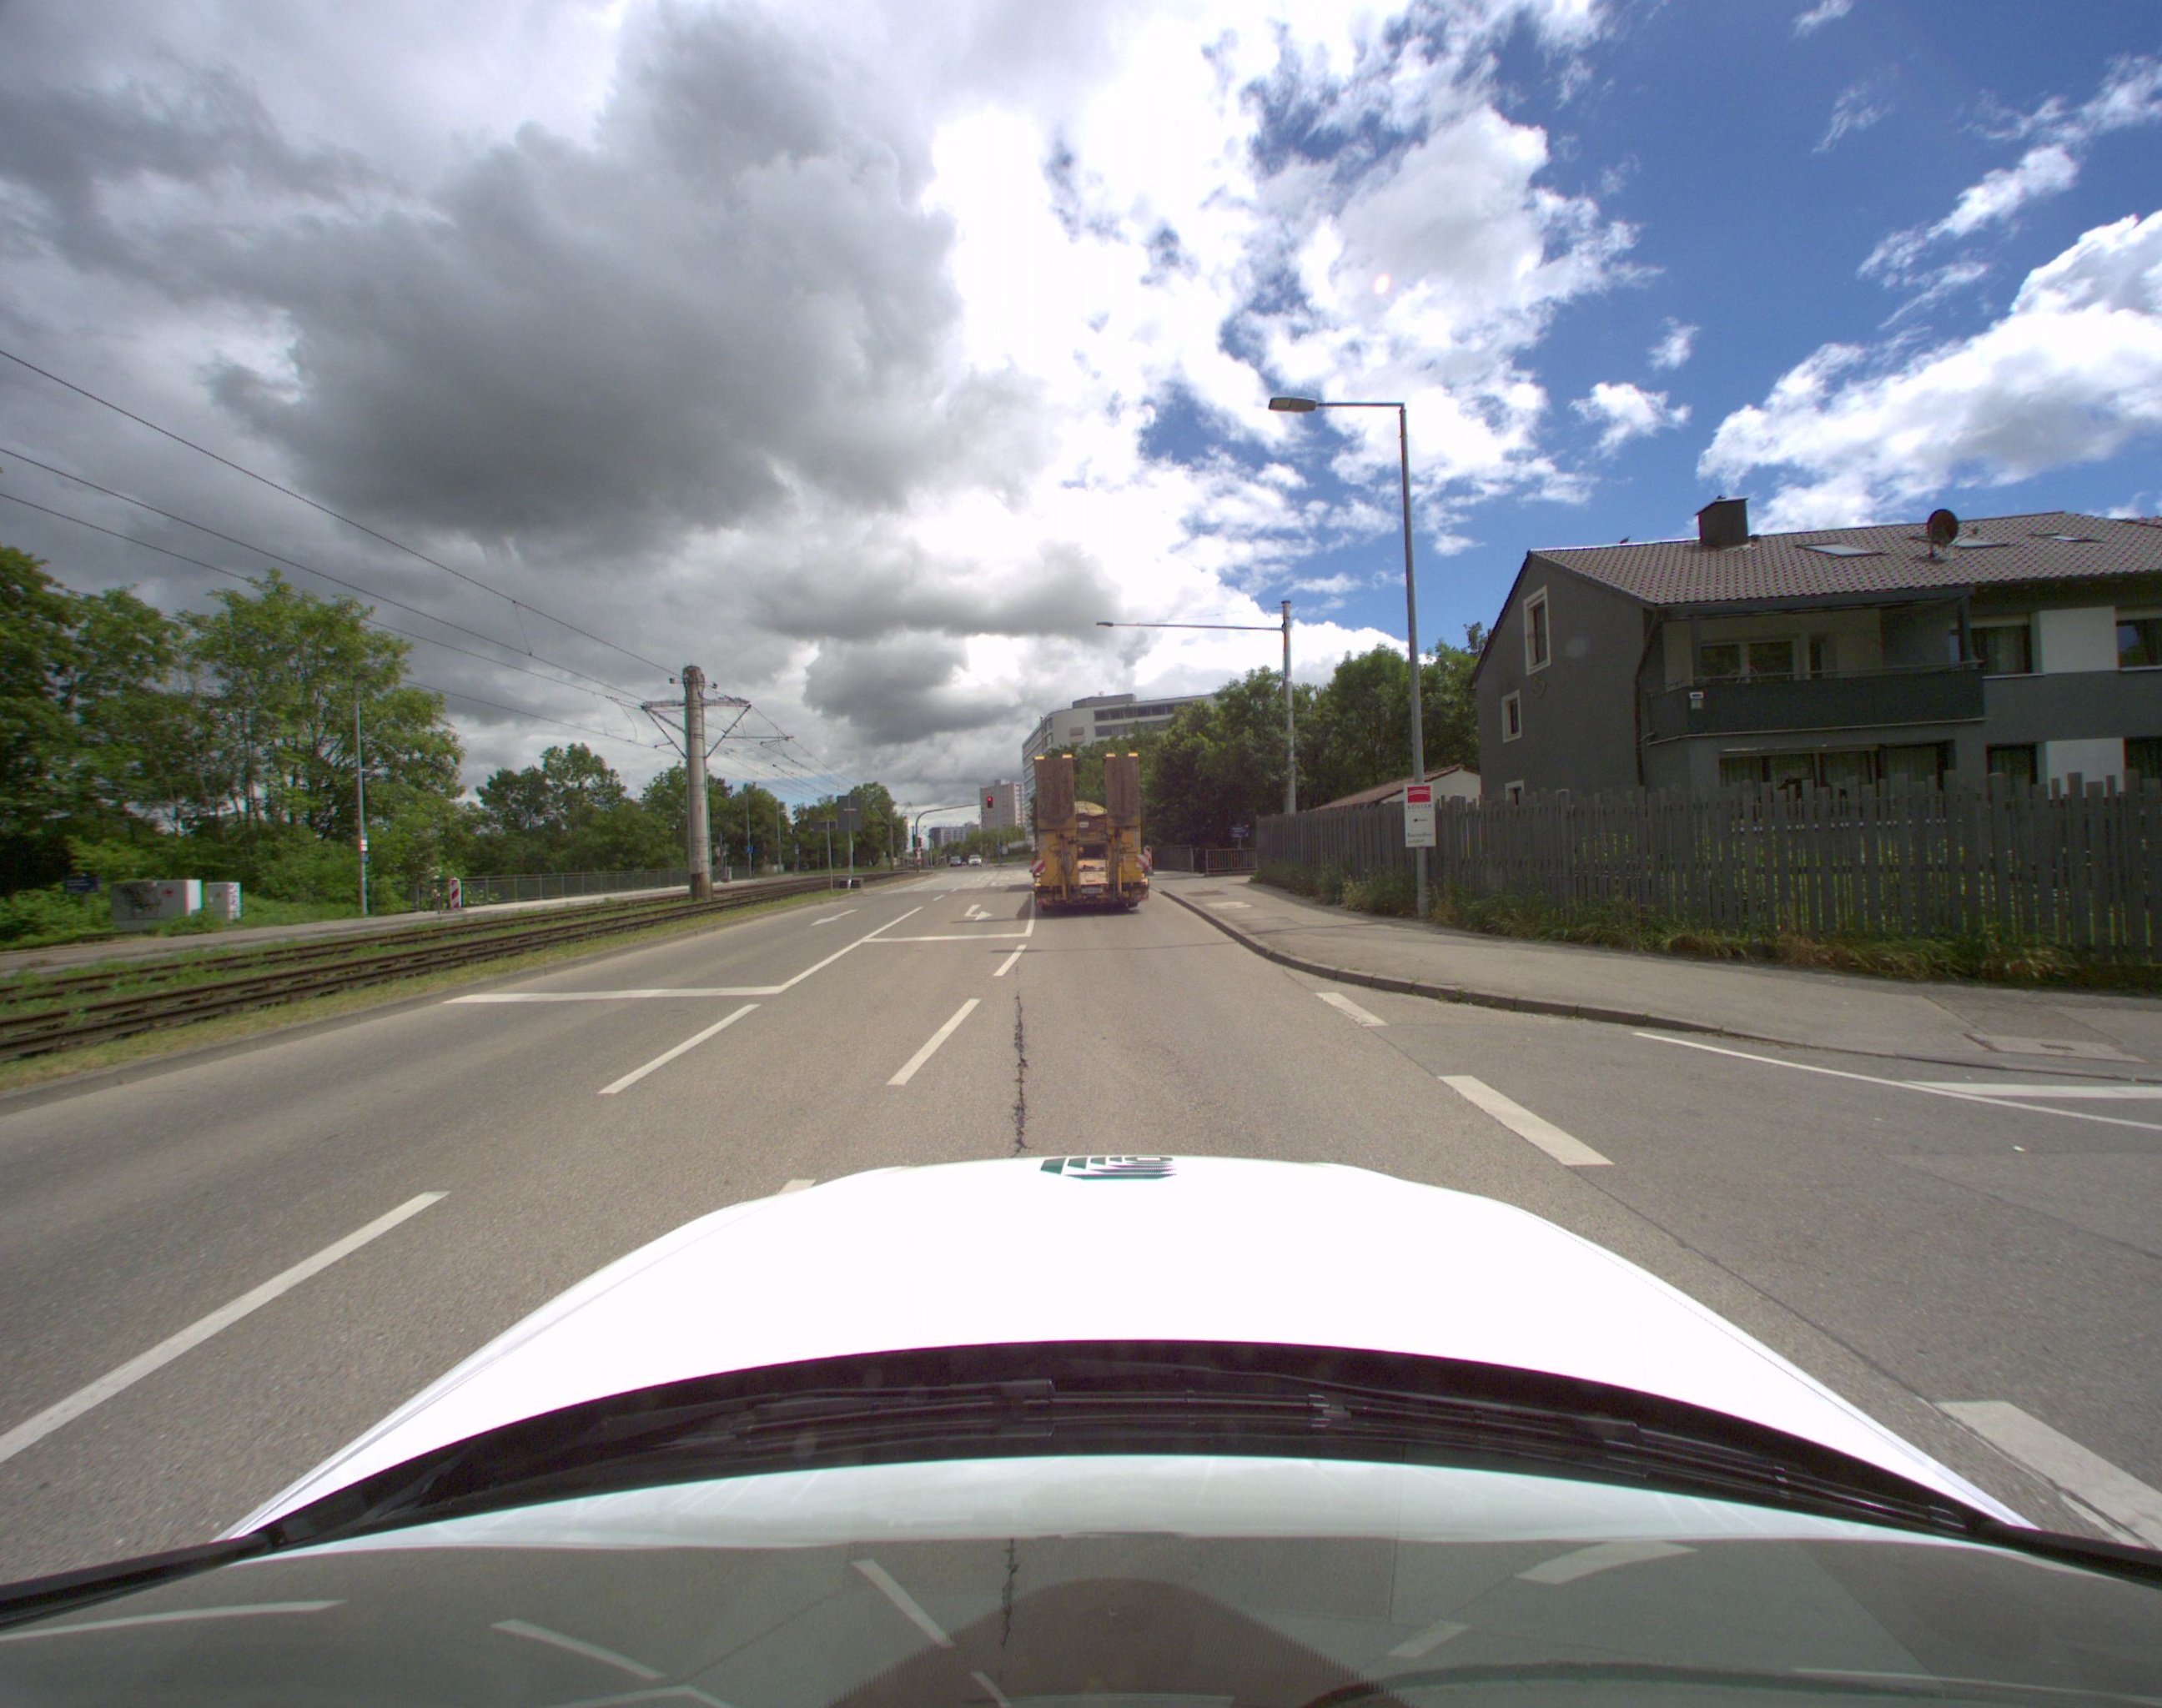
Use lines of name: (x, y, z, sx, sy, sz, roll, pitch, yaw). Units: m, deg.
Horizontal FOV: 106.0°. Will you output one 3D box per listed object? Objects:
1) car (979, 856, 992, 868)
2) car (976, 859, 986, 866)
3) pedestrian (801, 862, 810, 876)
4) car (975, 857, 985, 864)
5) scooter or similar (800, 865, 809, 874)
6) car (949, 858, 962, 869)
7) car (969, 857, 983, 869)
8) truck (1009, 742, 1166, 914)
car: (-15.937, 1.348, 135.920, 1.992, 1.926, 3.990, -1, 0, -7)
car: (-20.620, 1.690, 168.607, 1.992, 1.420, 3.990, -1, 0, -7)
pedestrian: (-35.380, 1.917, 104.627, 0.800, 1.811, 0.808, -1, -1, -3)
car: (-19.675, 1.291, 158.678, 1.992, 1.420, 3.990, -1, 0, -7)
scooter or similar: (-35.268, 1.971, 103.813, 0.889, 1.184, 0.971, -1, -1, -5)
car: (-19.500, 1.438, 126.878, 1.783, 1.570, 4.333, -3, 0, -8)
car: (-13.938, 1.156, 108.373, 1.591, 1.527, 3.648, -3, 0, -5)
truck: (-0.021, -0.526, 23.800, 3.307, 3.651, 12.552, -1, 0, -2)
